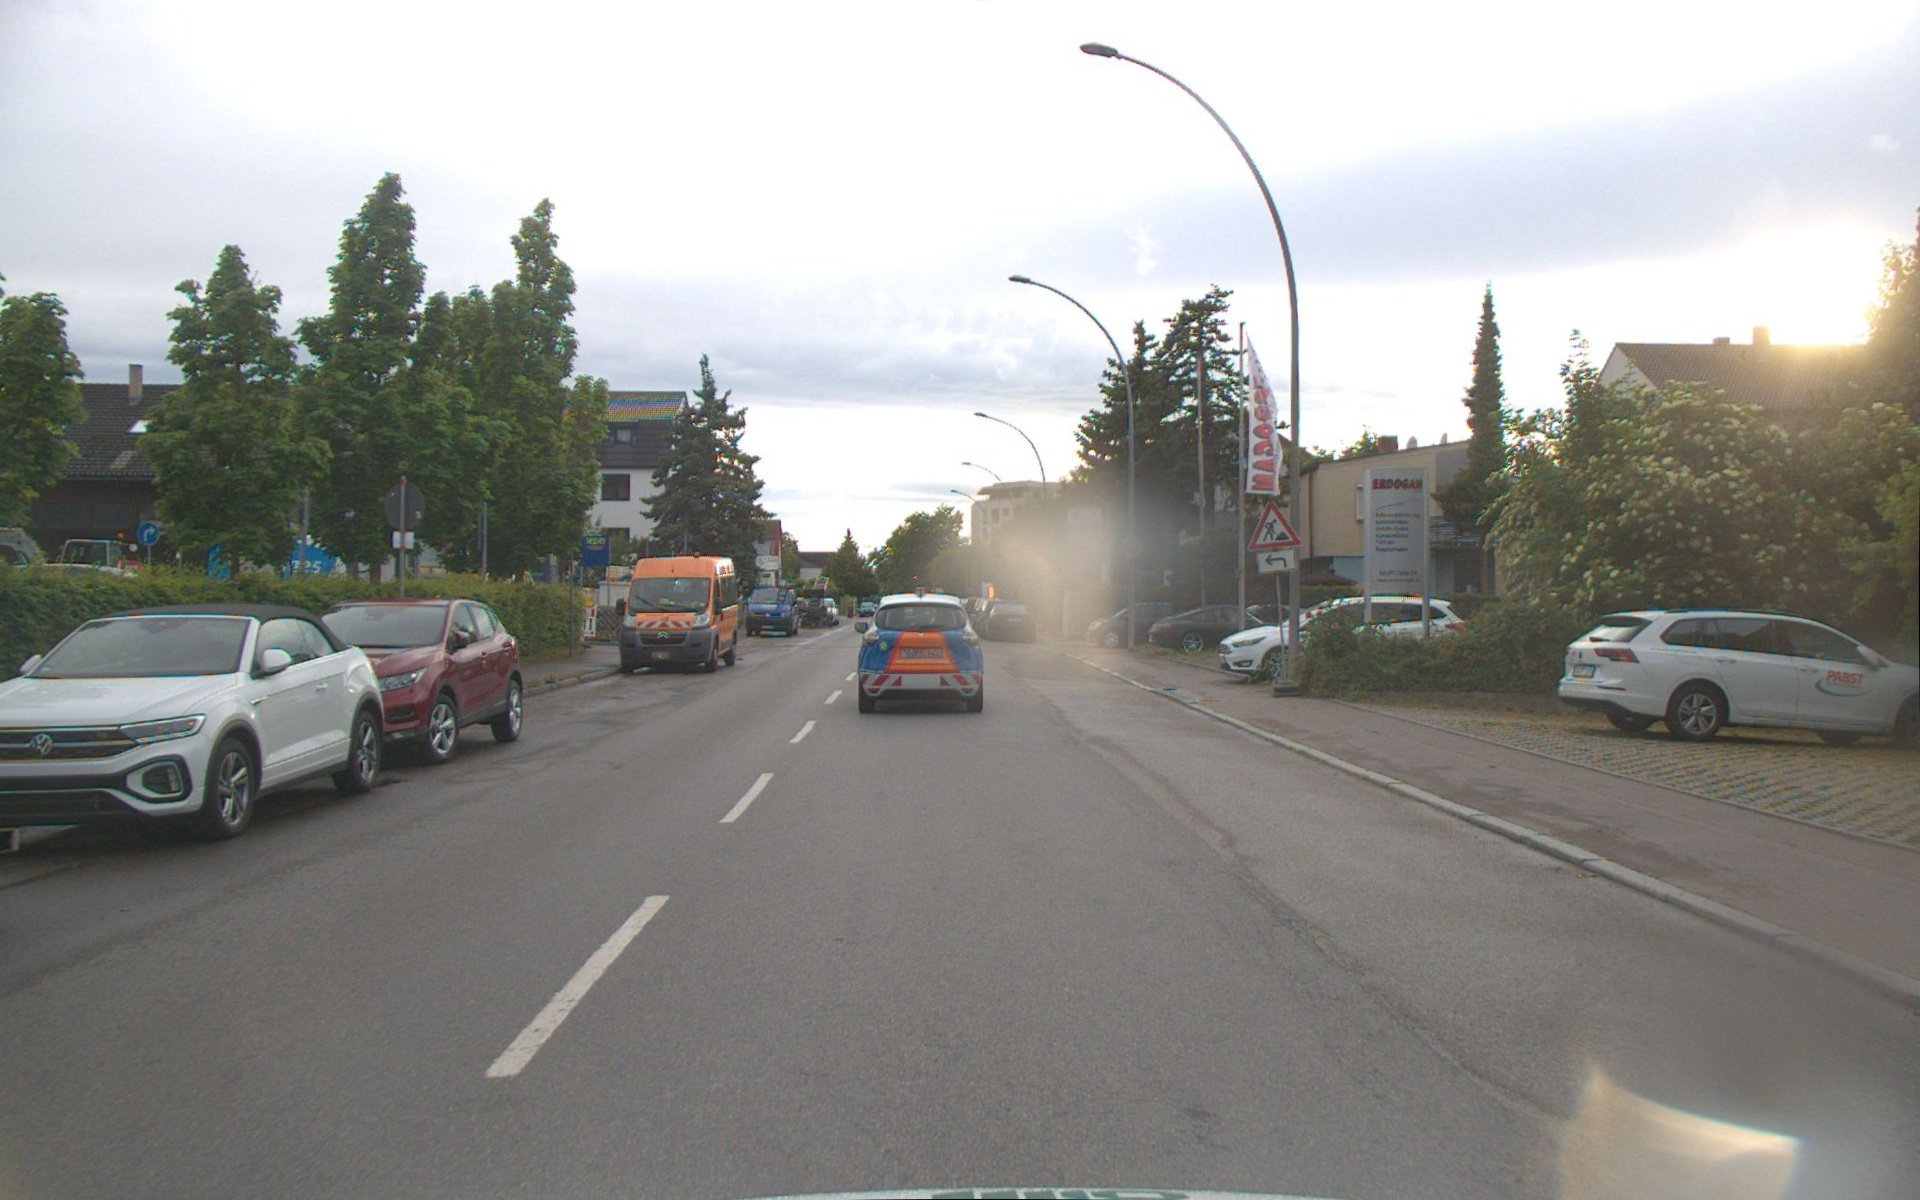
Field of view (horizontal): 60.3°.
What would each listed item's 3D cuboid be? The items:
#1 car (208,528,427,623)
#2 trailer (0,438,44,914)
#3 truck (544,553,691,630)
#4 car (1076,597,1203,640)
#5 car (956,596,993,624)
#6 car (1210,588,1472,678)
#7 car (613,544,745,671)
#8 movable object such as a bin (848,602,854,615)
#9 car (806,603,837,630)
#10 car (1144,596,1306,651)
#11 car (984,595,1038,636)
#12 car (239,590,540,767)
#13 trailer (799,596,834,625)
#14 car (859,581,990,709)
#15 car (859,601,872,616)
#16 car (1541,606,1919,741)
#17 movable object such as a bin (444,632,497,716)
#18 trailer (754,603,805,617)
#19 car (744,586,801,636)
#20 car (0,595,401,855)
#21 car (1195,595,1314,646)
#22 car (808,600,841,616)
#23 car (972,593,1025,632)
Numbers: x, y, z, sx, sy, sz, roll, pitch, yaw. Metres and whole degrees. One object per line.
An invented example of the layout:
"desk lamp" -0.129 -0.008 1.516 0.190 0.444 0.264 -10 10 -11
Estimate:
"car" -14.838 -0.542 38.362 4.219 2.049 2.062 1 -1 -1
"trailer" -5.576 0.407 6.142 1.776 2.354 4.728 -2 0 -2
"truck" -14.773 -0.351 71.670 5.791 3.127 2.449 1 -1 -1
"car" 5.898 0.600 54.653 3.907 1.288 1.949 1 -1 -3
"car" 0.782 0.550 91.931 1.678 1.464 4.523 1 0 -4
"car" 6.784 0.579 29.754 4.251 1.501 1.902 1 -1 -3
"car" -6.249 0.142 37.489 2.082 2.582 6.020 -1 0 -2
"movable object such as a bin" -10.407 0.818 157.602 0.568 1.225 0.318 1 0 -2
"car" -7.841 0.921 93.915 1.526 1.458 3.999 1 0 -1
"car" 6.843 0.602 43.002 3.905 1.288 1.951 1 -1 0
"car" 1.813 0.543 59.714 1.558 1.364 4.090 2 0 -3
"car" -5.757 0.701 17.274 1.769 1.601 4.341 0 0 -2
"trailer" -7.485 0.527 86.641 1.683 1.282 5.241 1 2 -3
"car" -0.529 0.596 23.216 1.697 1.659 3.493 0 0 -2
"car" -9.823 0.861 172.614 1.358 1.509 3.781 0 0 -3
"car" 9.276 0.834 19.297 4.327 1.417 1.879 1 -1 -3
"movable object such as a bin" -6.634 0.996 22.429 0.481 1.101 0.621 1 -1 3
"trailer" -14.633 0.798 134.111 3.942 1.012 1.654 1 -1 -3
"car" -7.742 0.473 68.714 1.953 1.981 5.363 0 -1 -2
"car" -5.591 0.752 12.073 1.736 1.525 4.135 0 1 -2
"car" 9.752 0.671 54.974 3.542 1.565 1.858 1 -1 -3
"car" -13.364 0.760 163.481 3.218 1.473 1.478 -1 0 -6
"car" 1.462 0.499 64.713 1.624 1.444 4.773 1 0 -4
